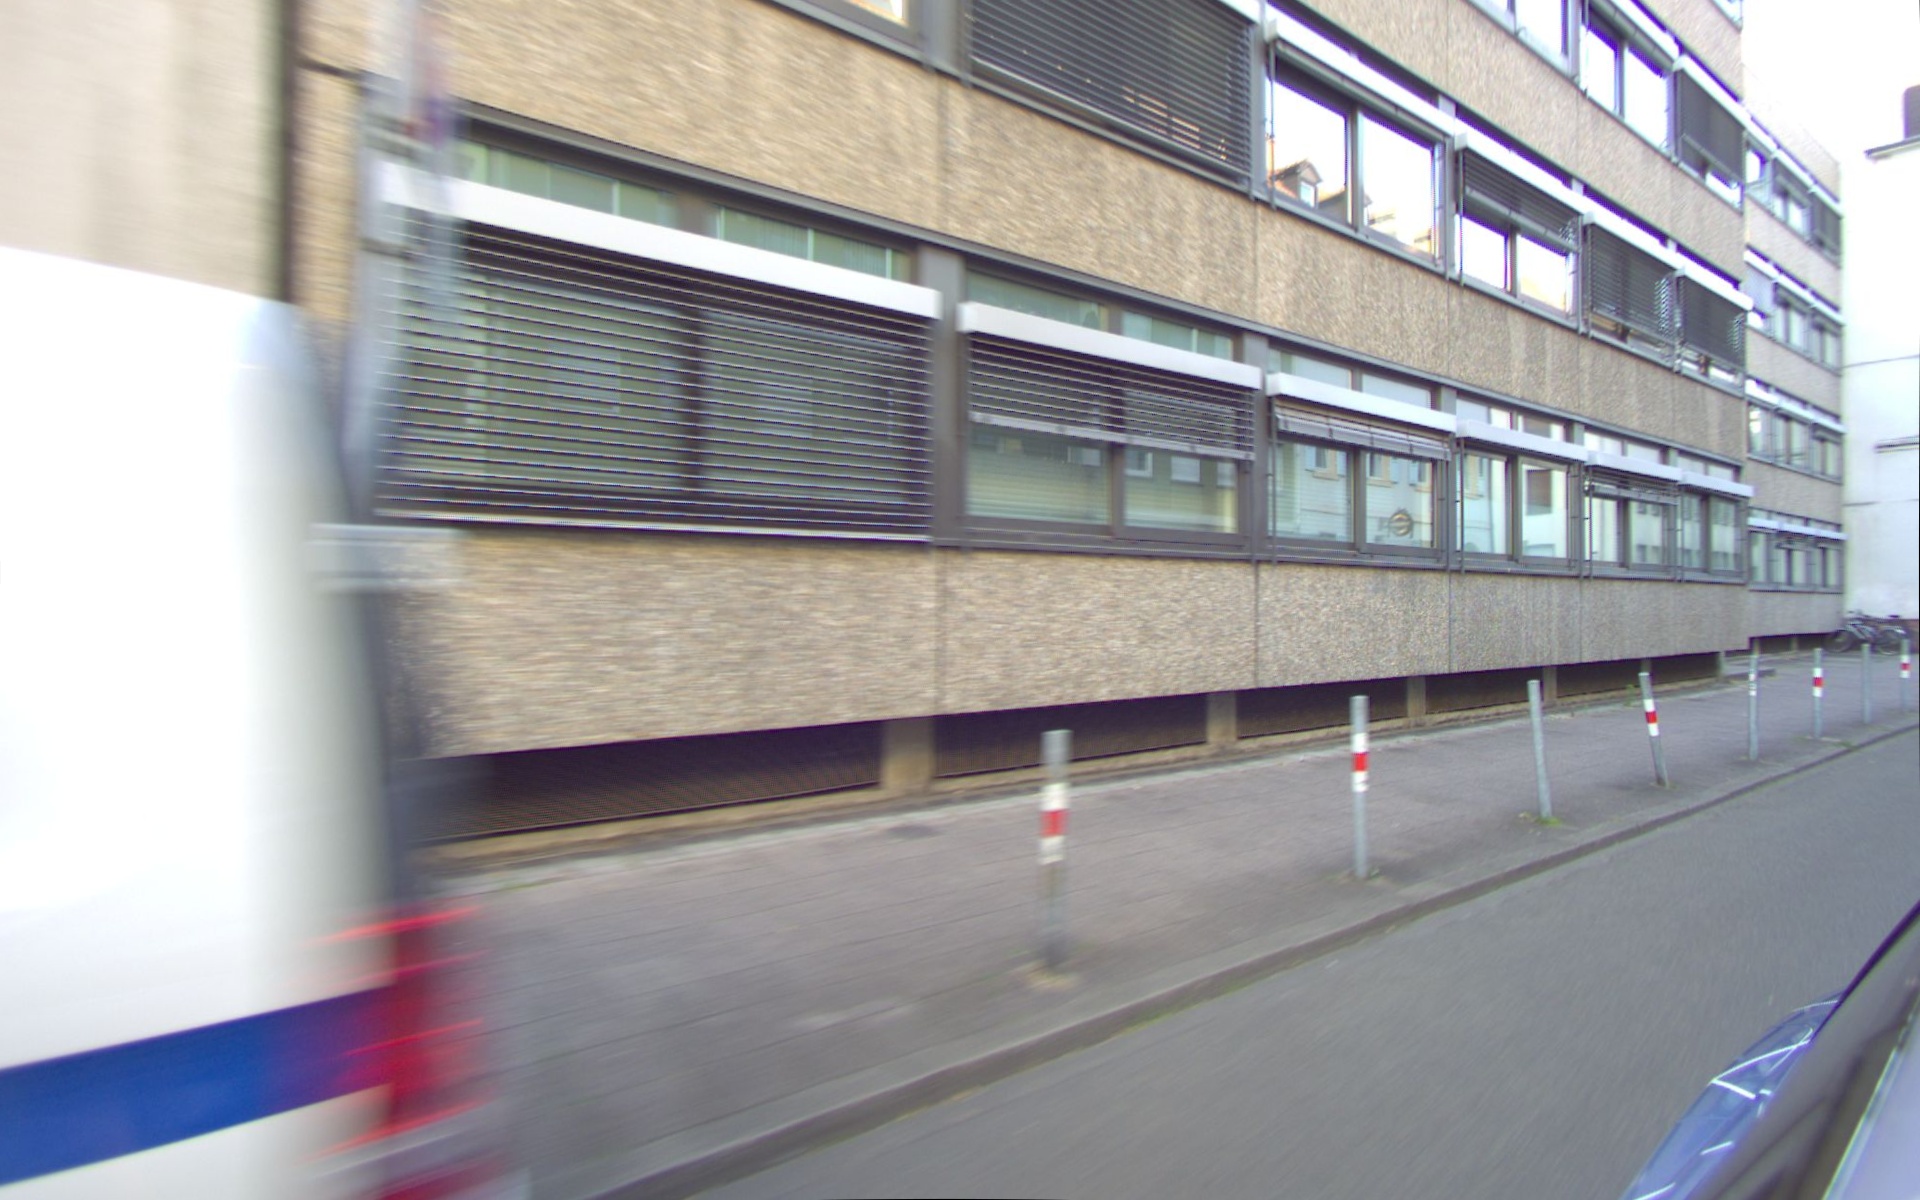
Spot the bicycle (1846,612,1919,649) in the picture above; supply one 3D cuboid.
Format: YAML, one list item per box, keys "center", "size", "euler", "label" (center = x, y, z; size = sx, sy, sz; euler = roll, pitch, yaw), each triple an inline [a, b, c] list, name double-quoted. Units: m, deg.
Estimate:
- center: [24.423, 0.794, 26.539]
  size: [0.529, 0.934, 1.741]
  euler: [0, -1, -43]
  label: "bicycle"

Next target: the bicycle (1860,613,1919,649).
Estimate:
- center: [25.658, 0.833, 27.462]
  size: [0.508, 0.934, 1.796]
  euler: [0, -1, -44]
  label: "bicycle"

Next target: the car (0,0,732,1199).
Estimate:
- center: [-2.920, 0.475, 0.431]
  size: [5.174, 1.922, 1.943]
  euler: [0, 0, -33]
  label: "car"

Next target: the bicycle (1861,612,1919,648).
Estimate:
- center: [25.166, 0.787, 26.878]
  size: [0.529, 0.934, 1.796]
  euler: [0, -1, -44]
  label: "bicycle"

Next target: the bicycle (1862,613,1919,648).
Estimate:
- center: [26.068, 0.830, 27.848]
  size: [0.389, 0.934, 1.798]
  euler: [0, -1, -40]
  label: "bicycle"
